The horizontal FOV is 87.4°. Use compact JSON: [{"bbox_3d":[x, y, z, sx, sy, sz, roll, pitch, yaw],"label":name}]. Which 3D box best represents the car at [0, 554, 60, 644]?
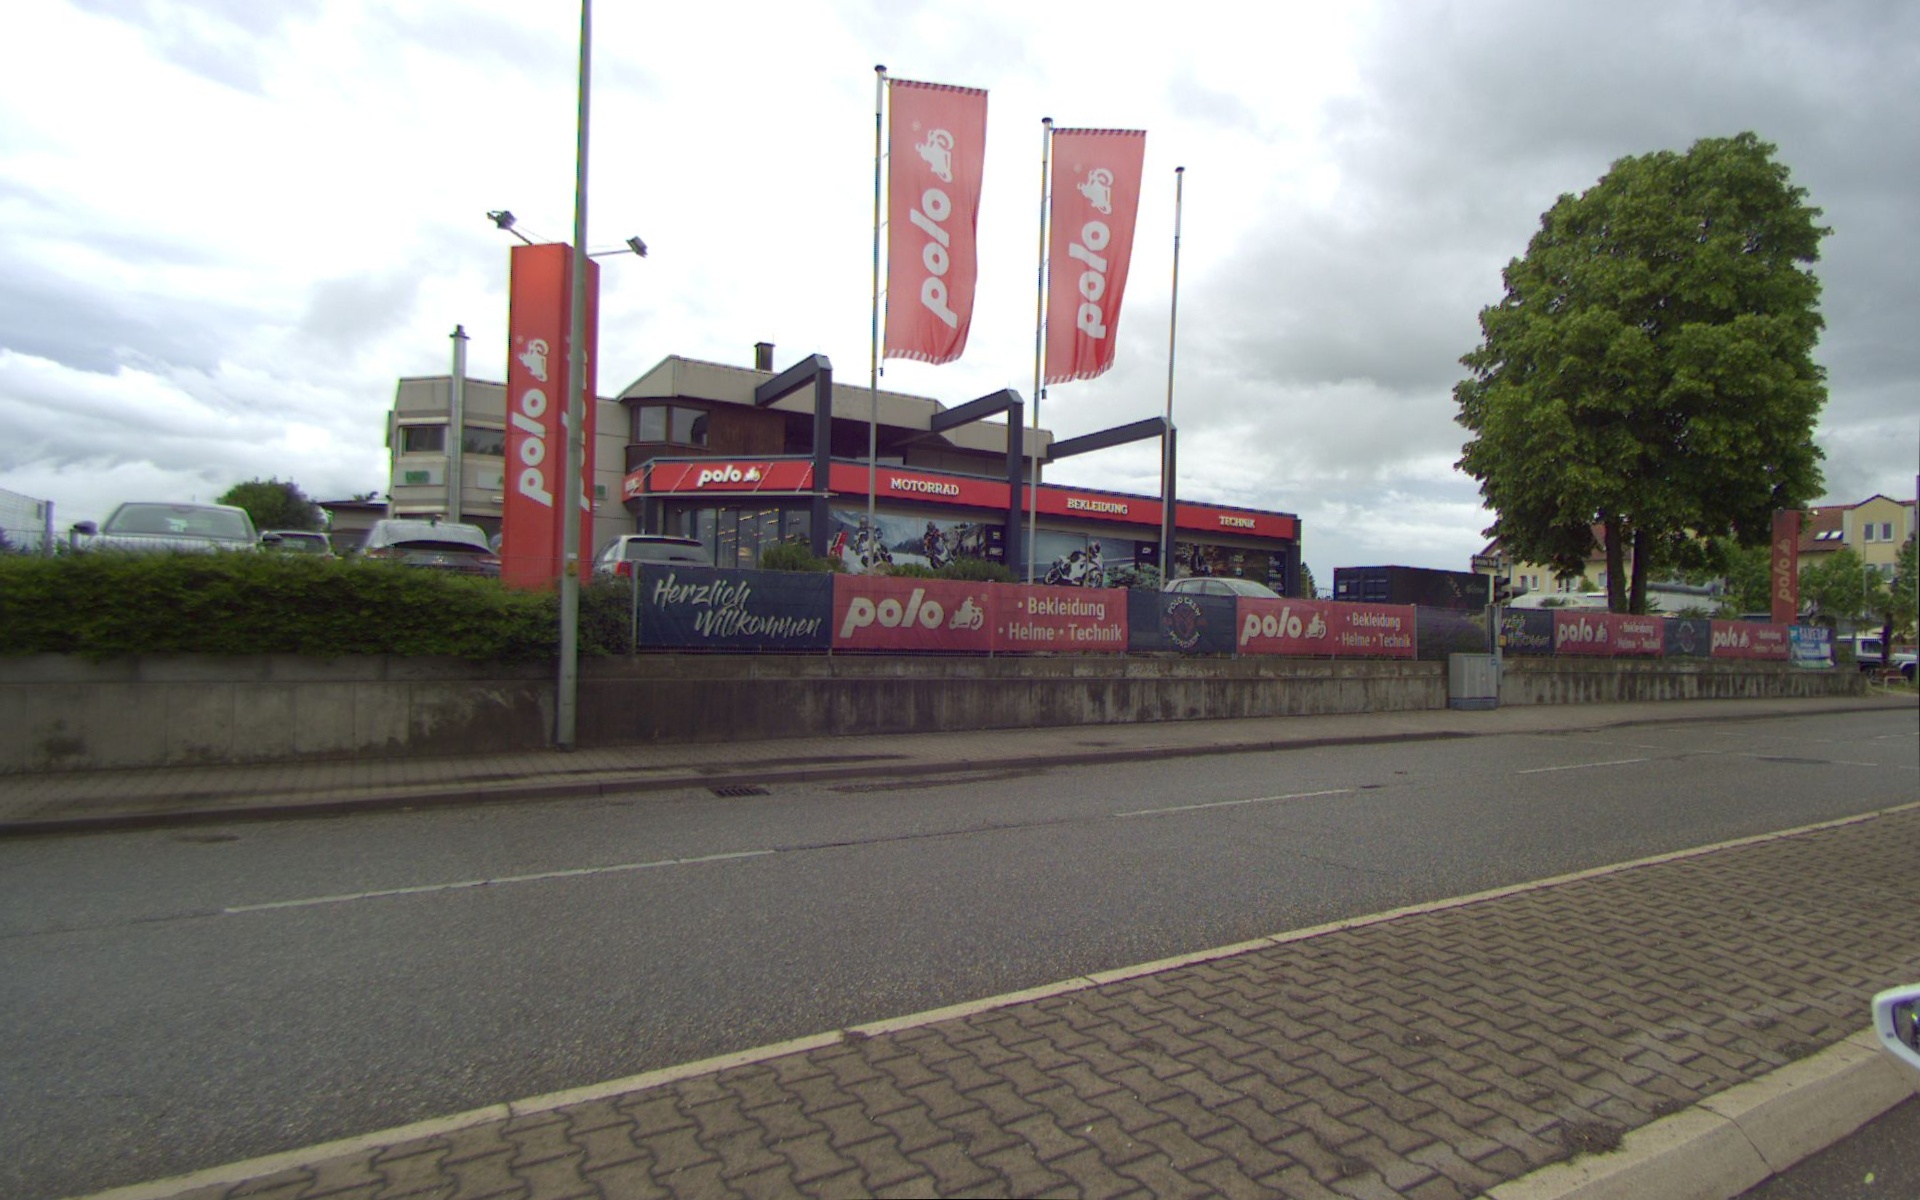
[{"bbox_3d":[-18.606,-0.034,18.047,3.346,1.617,1.520,1,-1,-30],"label":"car"}]

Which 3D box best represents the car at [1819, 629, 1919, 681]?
[{"bbox_3d":[38.021,2.231,40.876,4.324,2.040,1.996,-1,-3,32],"label":"car"}]

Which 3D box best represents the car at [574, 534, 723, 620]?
[{"bbox_3d":[-4.956,-0.284,15.726,1.438,1.183,3.368,1,-2,-32],"label":"car"}]

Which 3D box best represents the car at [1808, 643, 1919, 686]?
[{"bbox_3d":[40.100,2.793,43.458,4.927,1.724,1.996,-1,-6,33],"label":"car"}]

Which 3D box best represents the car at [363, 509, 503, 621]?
[{"bbox_3d":[-7.218,-0.383,13.629,1.438,1.294,3.368,1,-2,-32],"label":"car"}]

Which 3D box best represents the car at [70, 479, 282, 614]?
[{"bbox_3d":[-9.245,-0.521,12.097,1.436,1.355,3.372,1,-1,-29],"label":"car"}]

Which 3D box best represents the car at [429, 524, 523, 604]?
[{"bbox_3d":[-10.268,-0.686,21.193,1.438,1.492,3.368,1,-2,-32],"label":"car"}]

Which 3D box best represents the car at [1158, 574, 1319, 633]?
[{"bbox_3d":[6.083,0.101,22.210,1.438,1.183,3.368,1,-2,-32],"label":"car"}]
